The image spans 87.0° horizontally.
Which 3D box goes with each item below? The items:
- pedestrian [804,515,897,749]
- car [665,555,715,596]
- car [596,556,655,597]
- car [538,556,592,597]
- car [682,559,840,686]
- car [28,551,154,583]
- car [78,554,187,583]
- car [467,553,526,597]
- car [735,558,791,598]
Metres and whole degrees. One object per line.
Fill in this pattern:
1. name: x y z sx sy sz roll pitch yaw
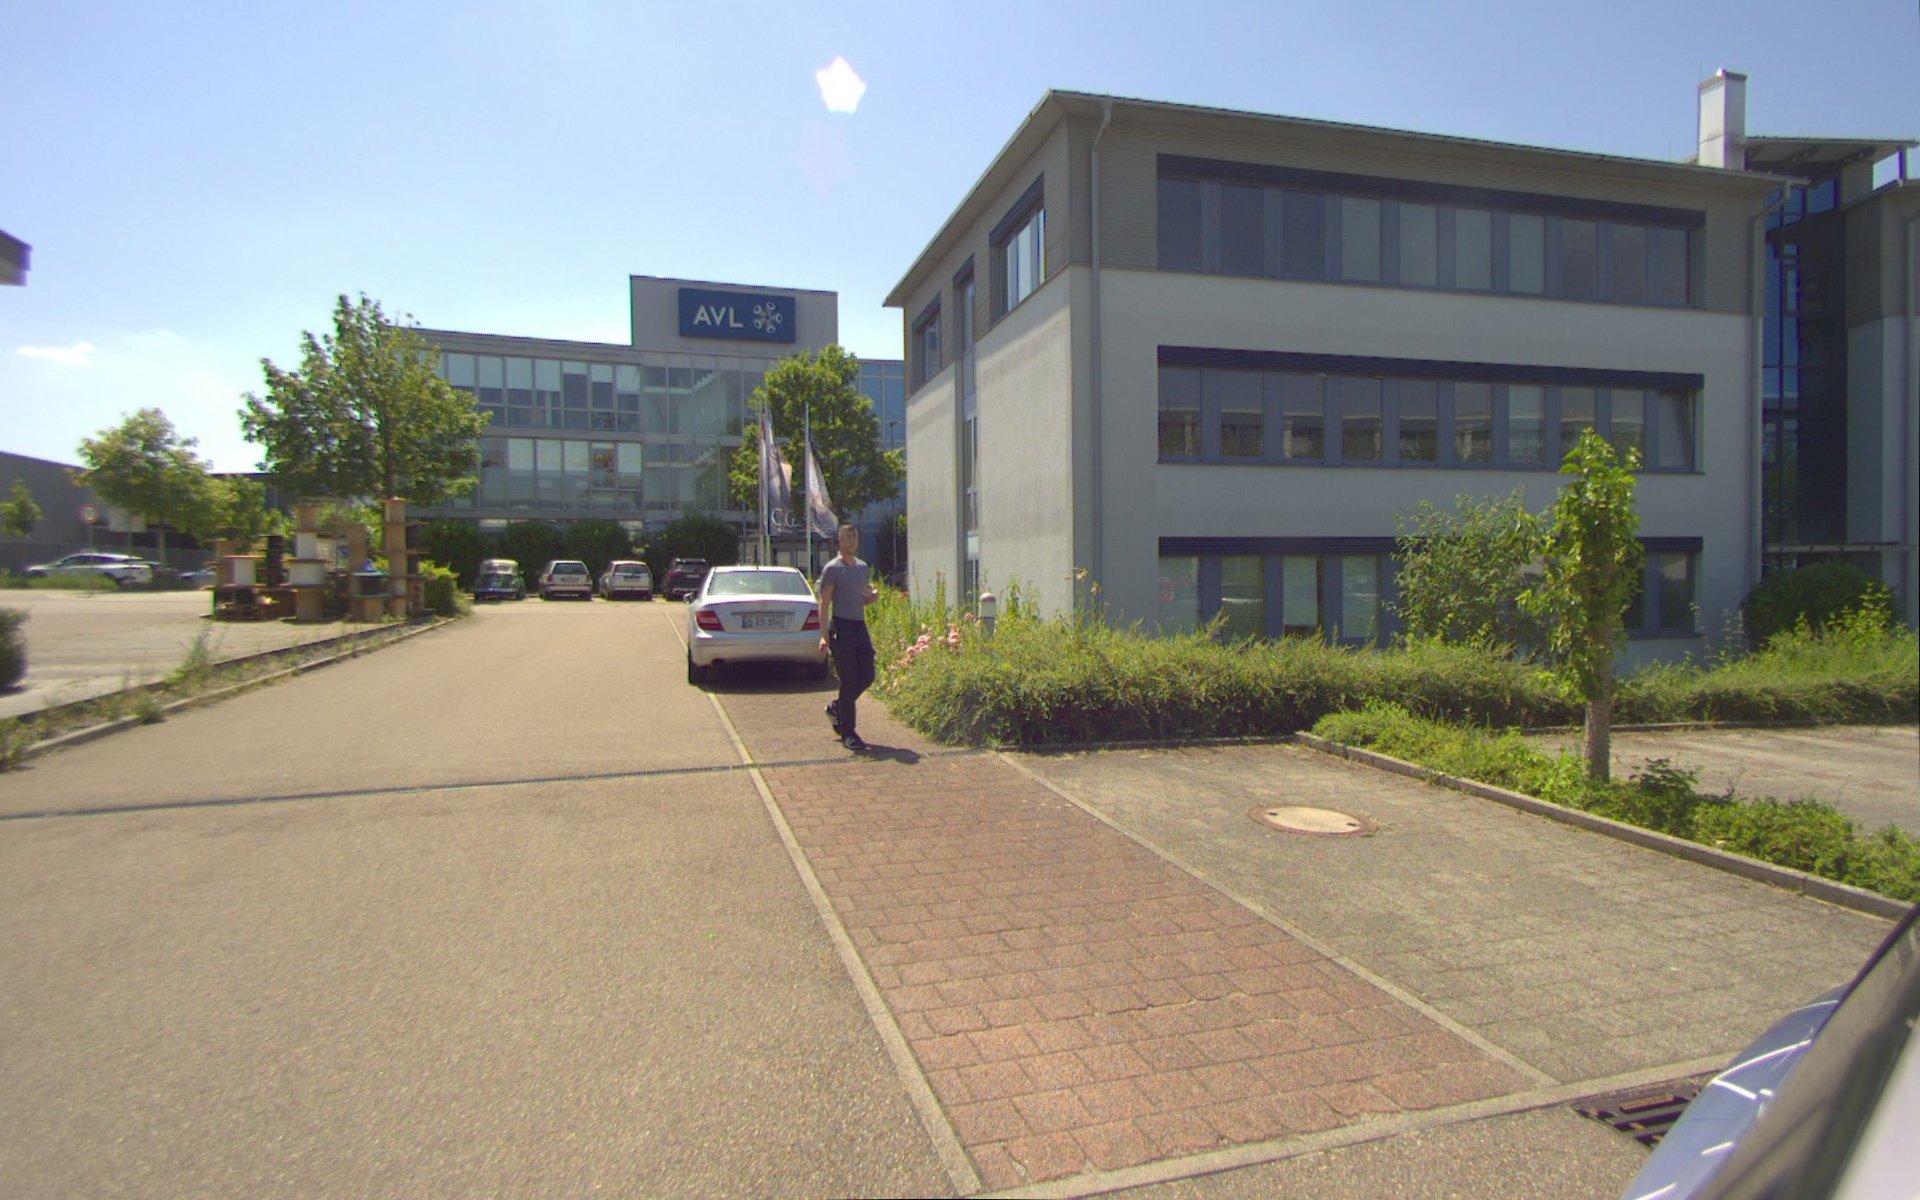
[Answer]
1. pedestrian: -0.898 0.234 8.160 0.606 1.779 0.790 0 1 -17
2. car: -10.740 -0.975 40.090 1.713 1.538 4.009 0 1 -18
3. car: -13.163 -0.919 39.698 1.713 1.538 4.007 0 1 -25
4. car: -15.016 -0.896 38.368 1.640 1.458 4.007 0 1 -25
5. car: -2.787 0.218 13.538 1.693 1.454 3.725 0 1 -17
6. car: -41.346 -1.562 48.211 4.359 1.433 1.751 0 0 -5
7. car: -41.932 -1.583 51.338 3.985 1.433 1.751 0 0 -5
8. car: -17.107 -0.903 37.474 1.713 1.538 4.009 0 1 -21
9. car: -8.039 -0.880 41.097 1.713 1.538 4.009 0 1 -18
